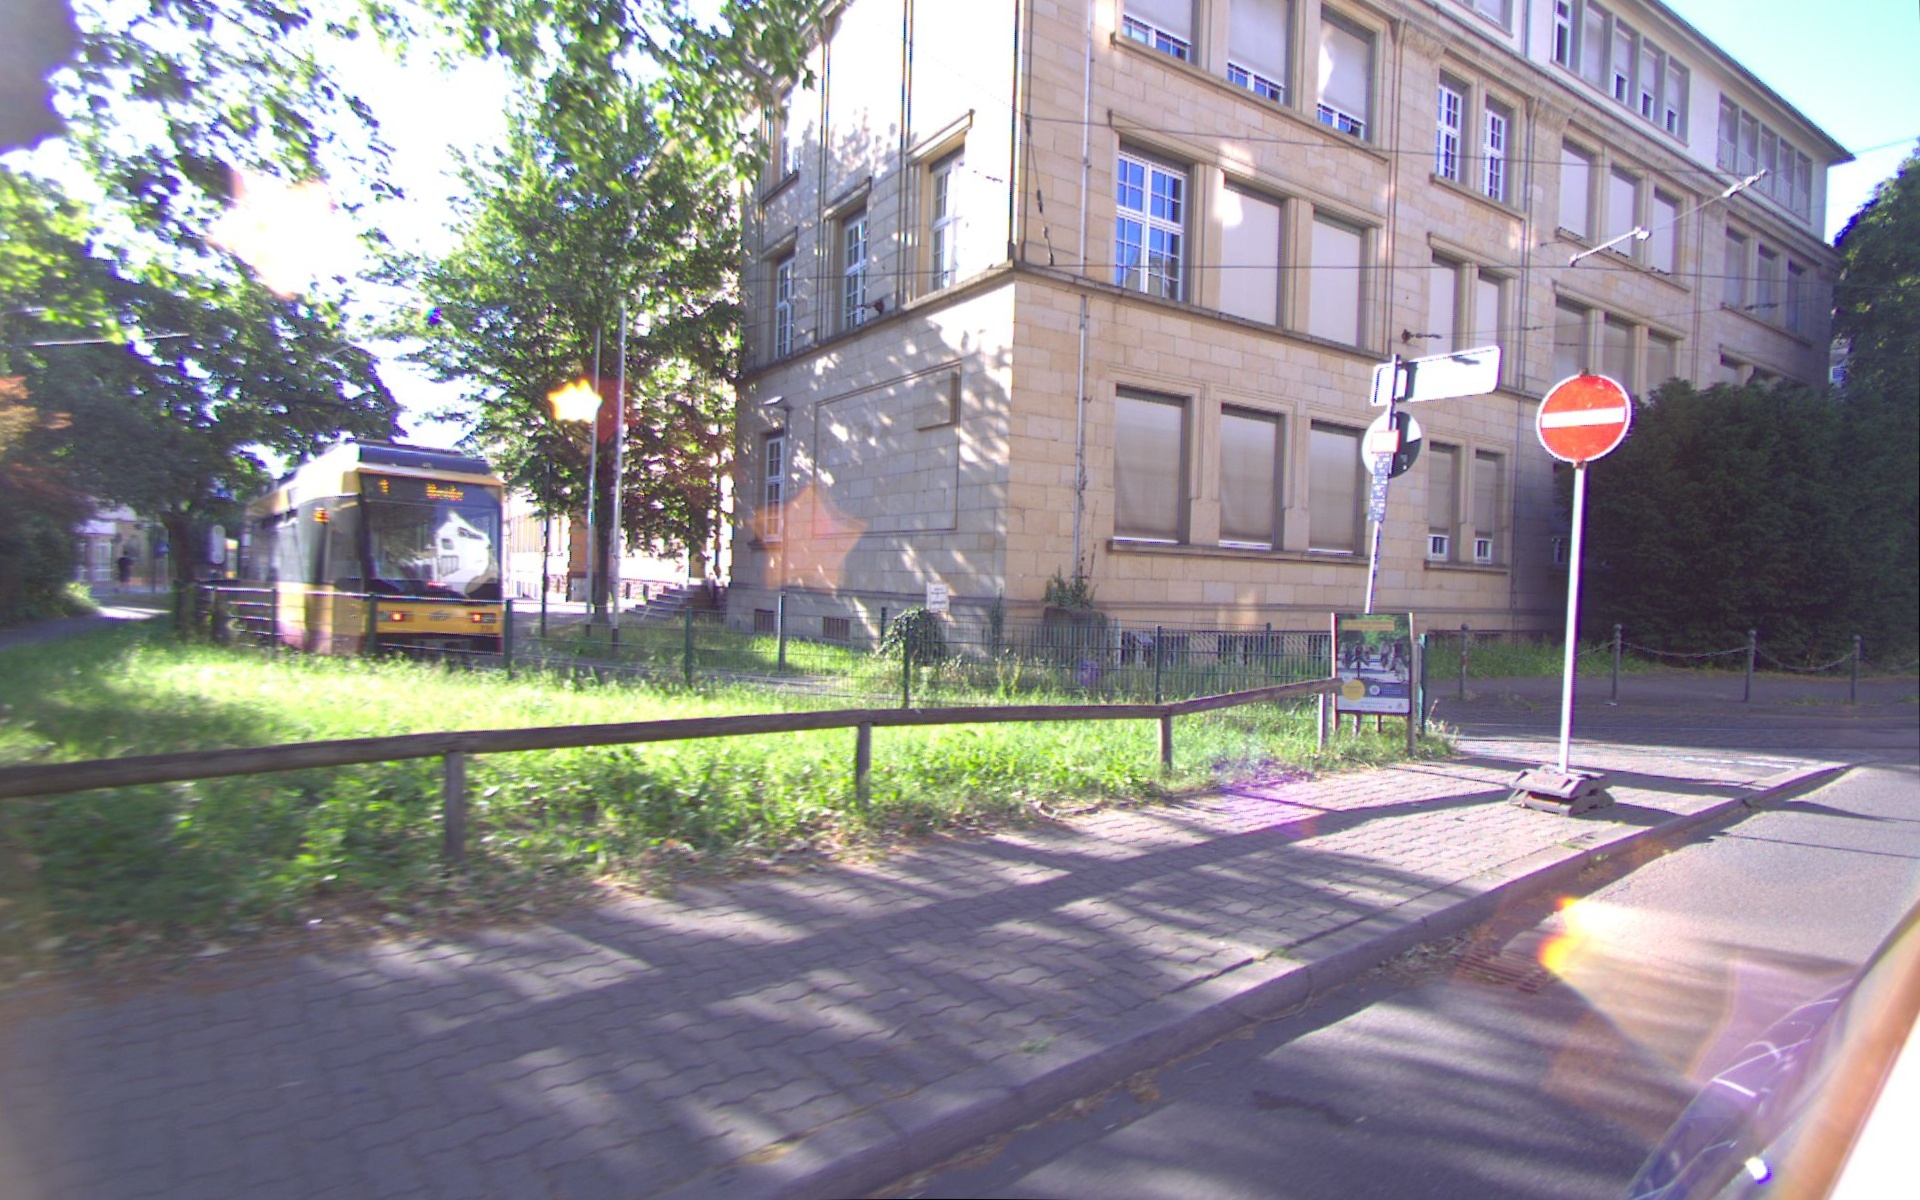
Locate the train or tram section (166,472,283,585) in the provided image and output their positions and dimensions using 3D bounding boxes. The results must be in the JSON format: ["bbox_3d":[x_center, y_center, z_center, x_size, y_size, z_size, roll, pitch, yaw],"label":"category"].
[{"bbox_3d":[-28.121,-2.457,38.468,2.798,3.647,9.851,1,0,-40],"label":"train or tram section"}]

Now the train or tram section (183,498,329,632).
[{"bbox_3d":[-21.938,-0.938,31.262,2.749,3.564,9.254,1,0,-41],"label":"train or tram section"}]

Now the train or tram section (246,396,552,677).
[{"bbox_3d":[-9.974,-0.822,17.282,2.749,3.564,9.254,1,0,-40],"label":"train or tram section"}]

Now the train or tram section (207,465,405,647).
[{"bbox_3d":[-15.936,-0.880,24.277,2.749,3.564,9.254,1,0,-40],"label":"train or tram section"}]
